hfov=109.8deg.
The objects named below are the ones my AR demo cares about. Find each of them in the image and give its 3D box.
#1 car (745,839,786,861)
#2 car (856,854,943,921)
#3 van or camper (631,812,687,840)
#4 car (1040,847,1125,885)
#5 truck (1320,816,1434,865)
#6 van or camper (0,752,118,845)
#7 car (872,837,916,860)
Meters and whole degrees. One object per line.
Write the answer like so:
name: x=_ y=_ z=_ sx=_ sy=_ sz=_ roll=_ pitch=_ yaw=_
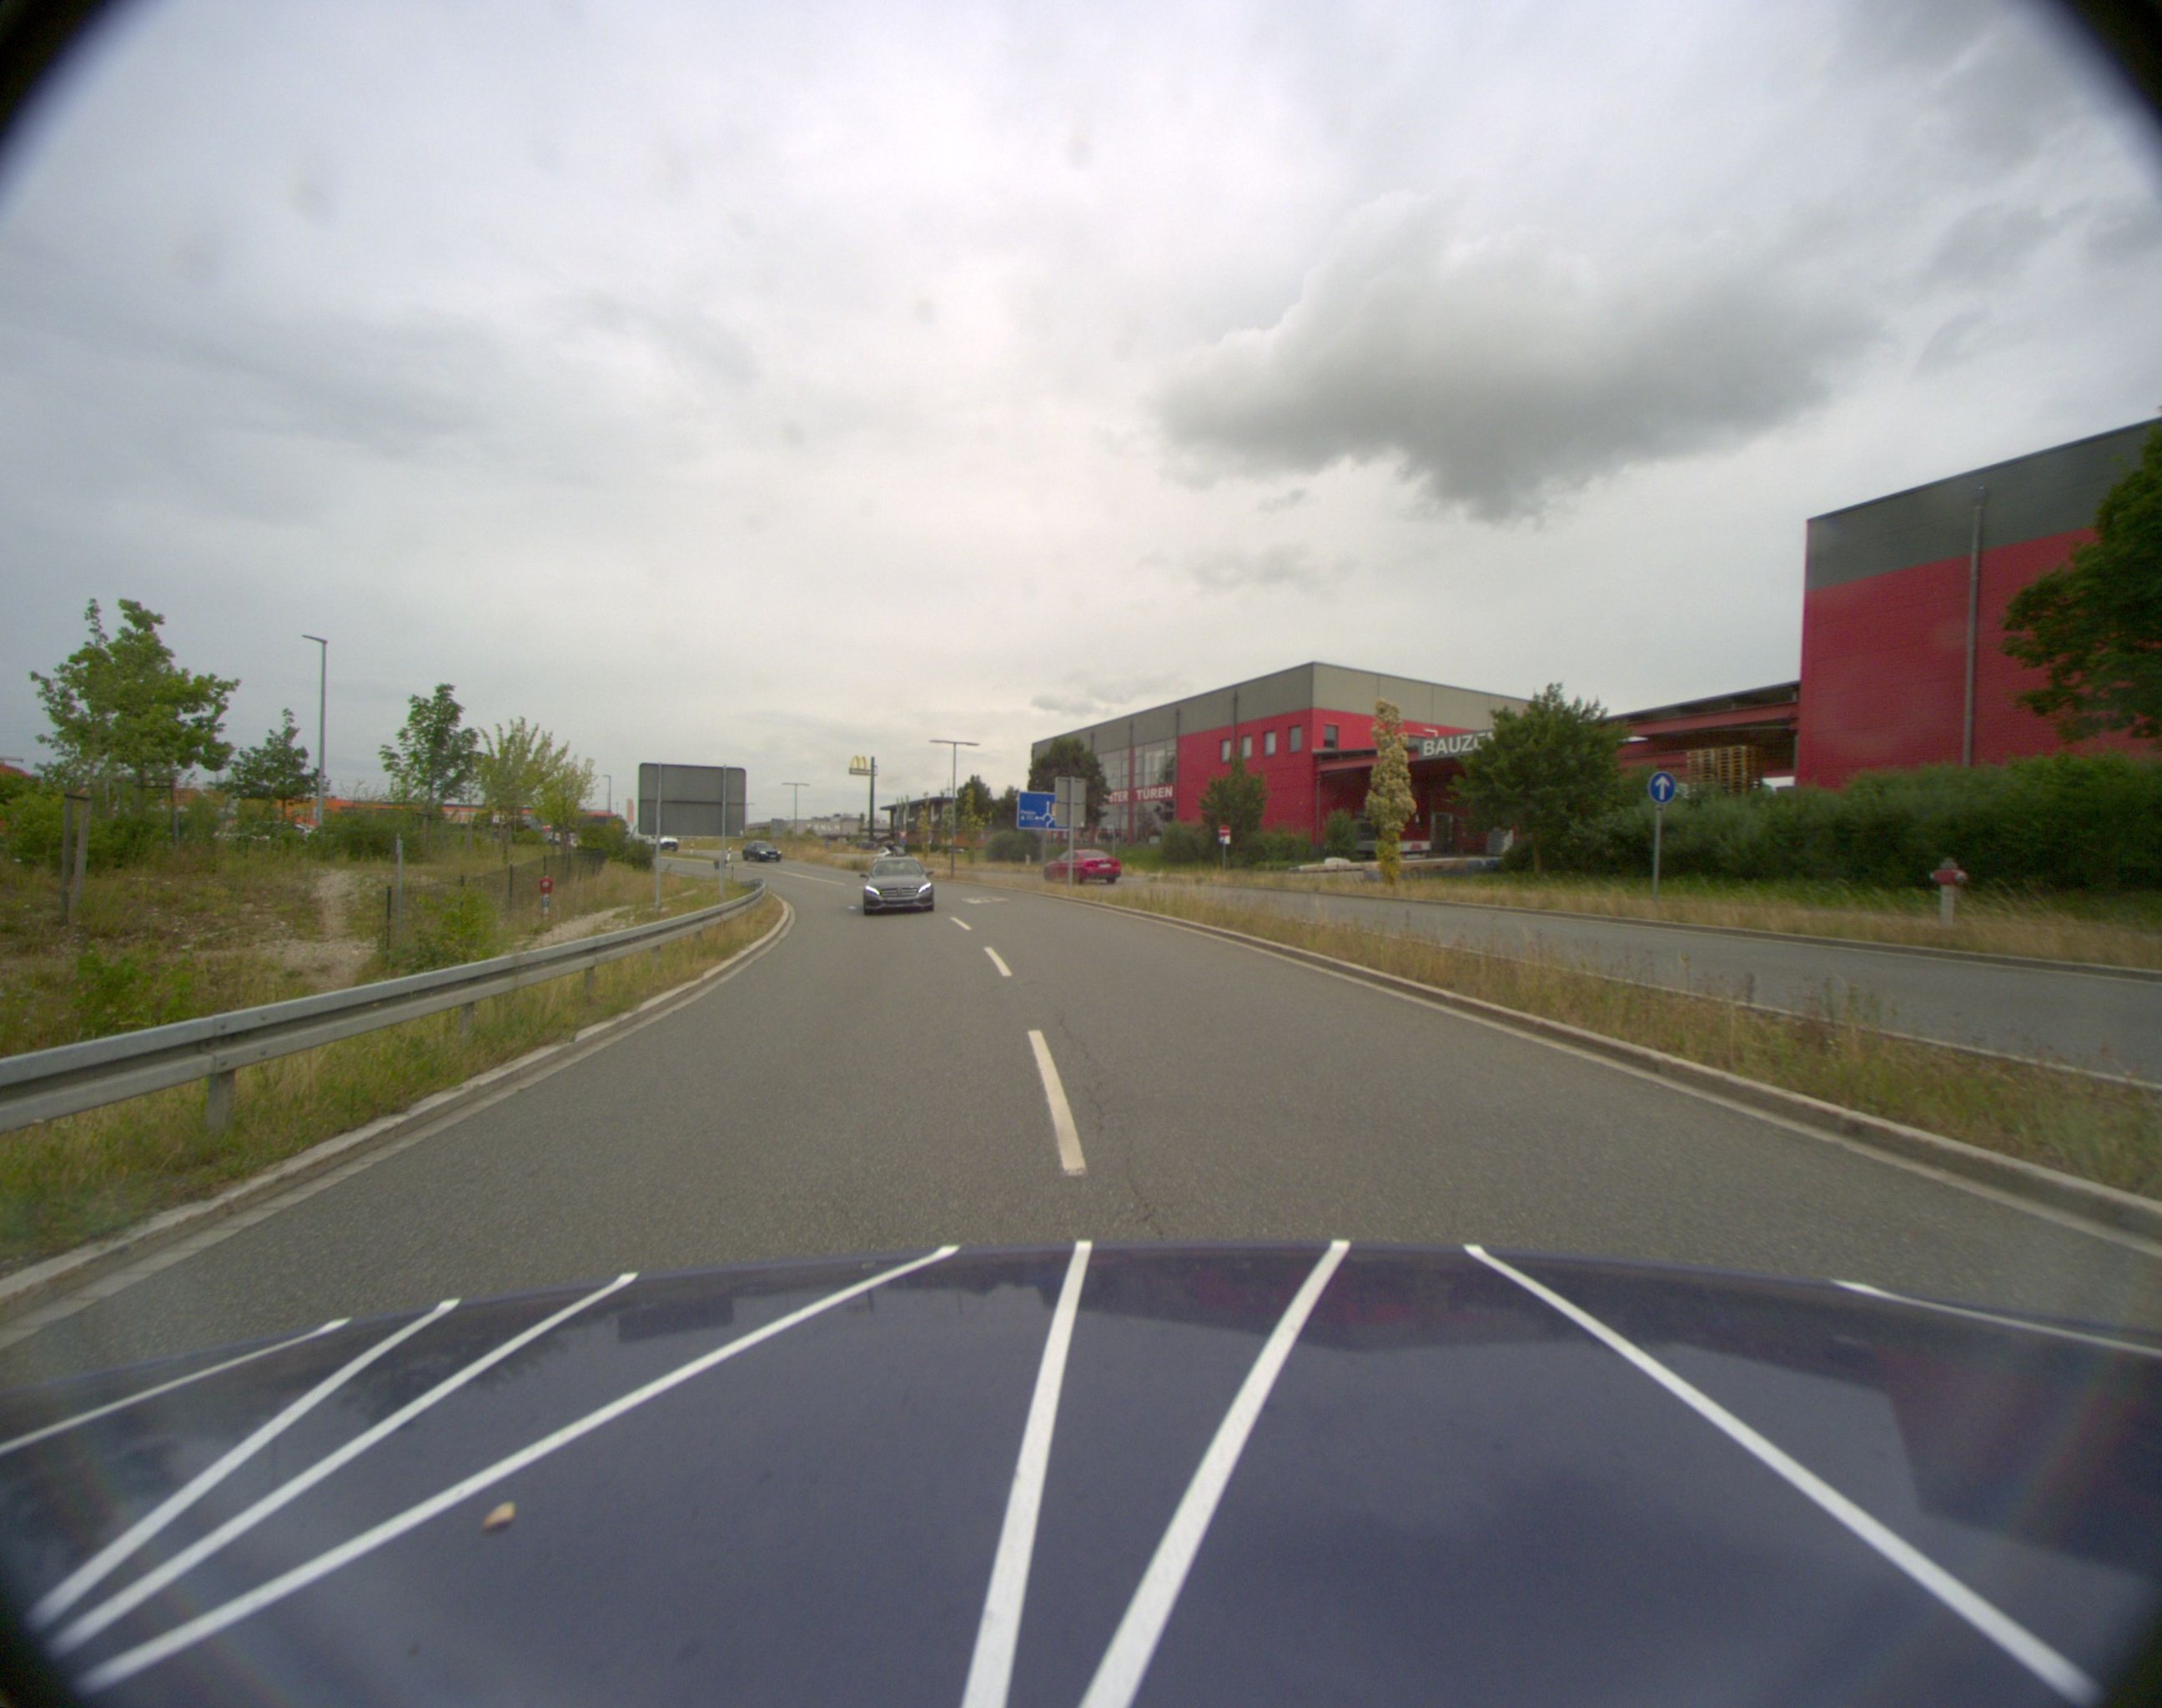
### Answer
car: x=-26.561 y=-0.341 z=63.967 sx=1.847 sy=1.710 sz=3.988 roll=-4 pitch=2 yaw=-43
car: x=-5.179 y=0.828 z=21.284 sx=1.909 sy=1.489 sz=4.331 roll=-4 pitch=2 yaw=-18
van or camper: x=-42.054 y=-2.744 z=75.655 sx=6.026 sy=2.635 sz=2.339 roll=1 pitch=2 yaw=35
car: x=-0.034 y=0.475 z=33.109 sx=1.799 sy=1.439 sz=4.961 roll=-3 pitch=2 yaw=-24
truck: x=15.924 y=-0.729 z=41.284 sx=2.043 sy=2.473 sz=5.893 roll=-1 pitch=1 yaw=-28
van or camper: x=-24.543 y=-1.200 z=16.142 sx=1.809 sy=1.985 sz=4.683 roll=0 pitch=1 yaw=20
car: x=-14.371 y=-0.401 z=58.237 sx=1.917 sy=1.617 sz=4.626 roll=-4 pitch=2 yaw=-30
